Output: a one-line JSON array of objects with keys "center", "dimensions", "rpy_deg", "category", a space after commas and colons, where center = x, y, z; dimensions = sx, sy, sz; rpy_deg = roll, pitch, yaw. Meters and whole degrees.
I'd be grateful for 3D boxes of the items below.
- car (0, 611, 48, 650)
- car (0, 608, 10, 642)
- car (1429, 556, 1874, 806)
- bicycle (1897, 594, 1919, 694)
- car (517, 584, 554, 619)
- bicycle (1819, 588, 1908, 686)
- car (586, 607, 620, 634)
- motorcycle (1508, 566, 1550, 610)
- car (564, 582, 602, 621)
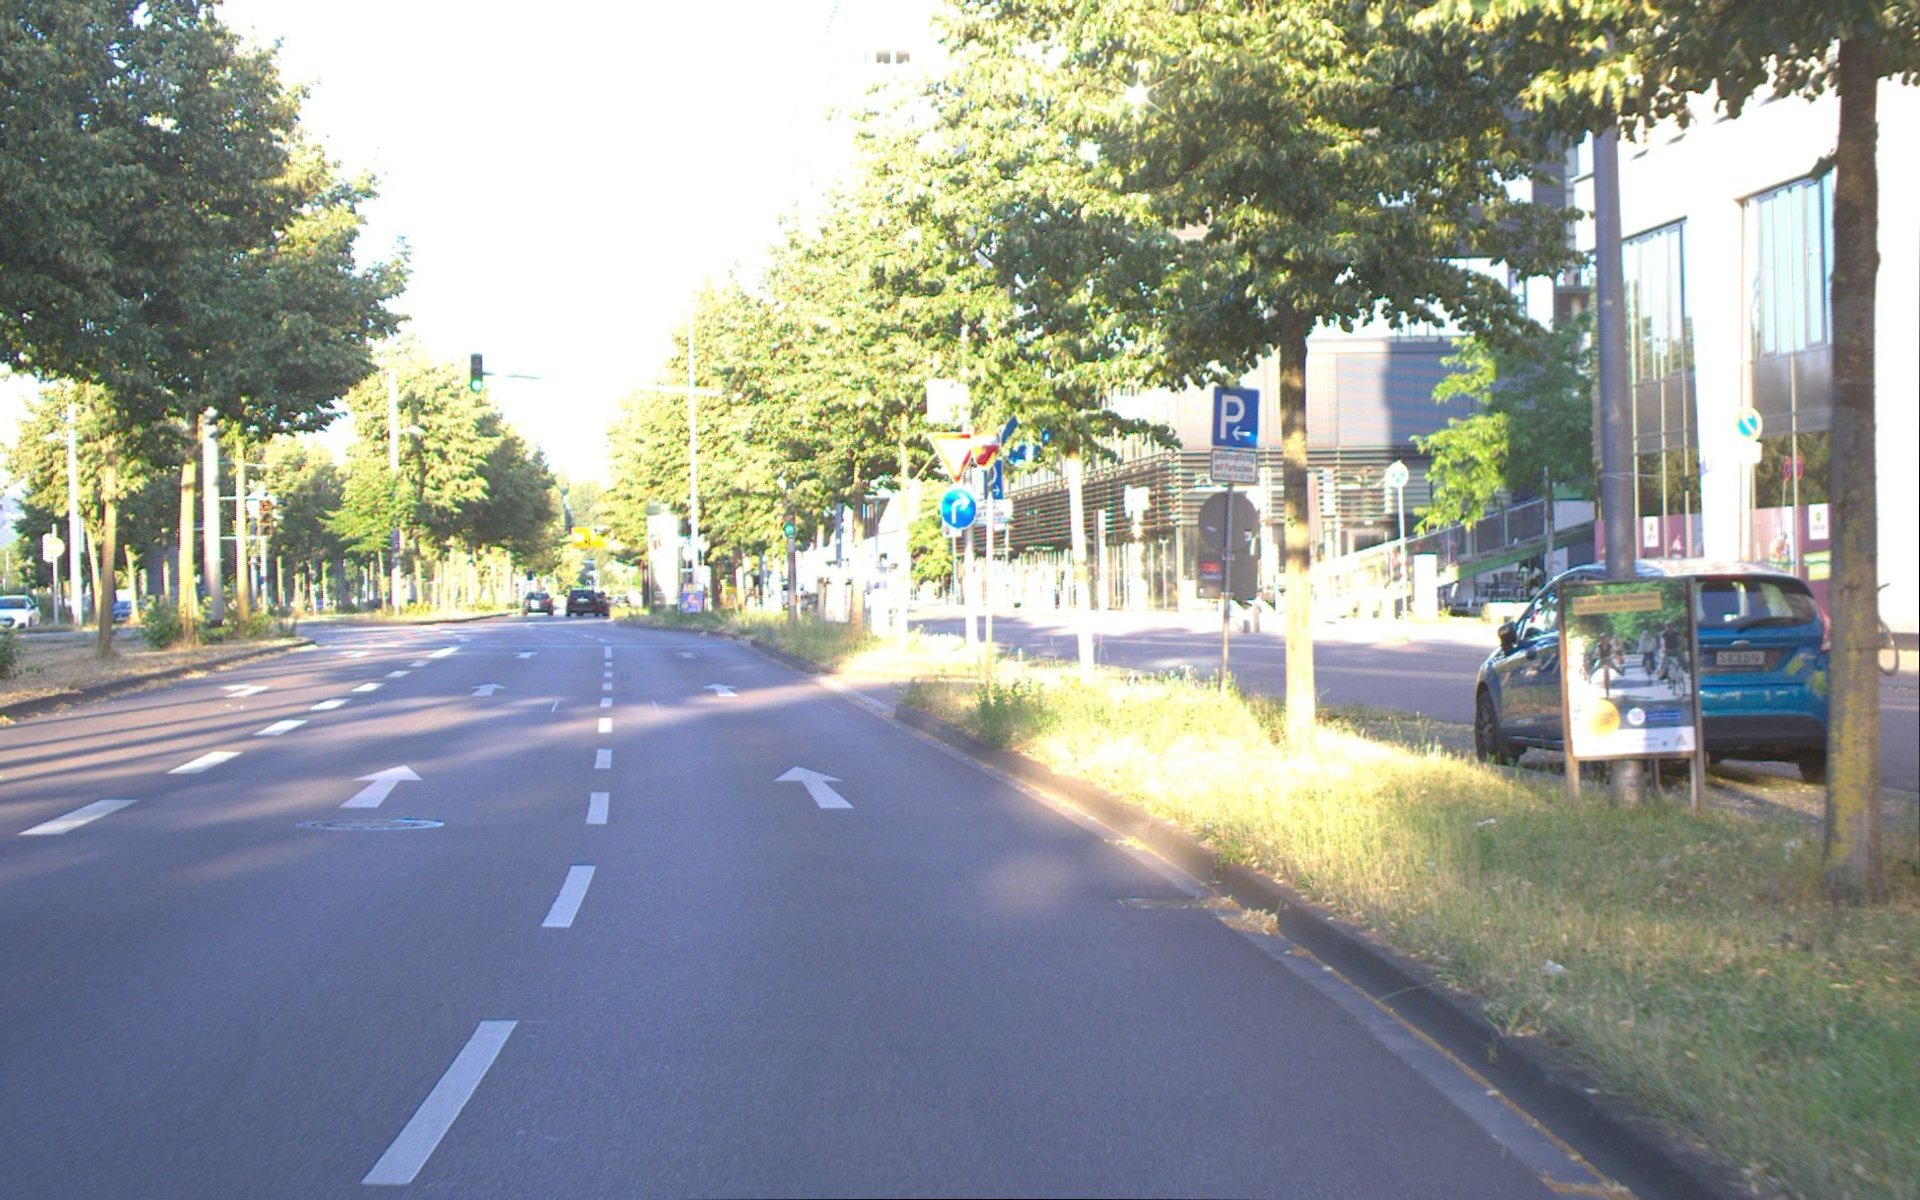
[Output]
[{"center": [-33.671, 1.079, 122.523], "dimensions": [1.786, 1.327, 3.672], "rpy_deg": [-1, 0, -7], "category": "car"}, {"center": [-39.232, 1.024, 137.638], "dimensions": [1.656, 1.327, 4.528], "rpy_deg": [-1, 0, -7], "category": "car"}, {"center": [4.521, 0.491, 23.127], "dimensions": [1.723, 1.524, 4.269], "rpy_deg": [0, 0, -6], "category": "car"}, {"center": [10.491, 0.457, 36.217], "dimensions": [0.518, 1.057, 1.961], "rpy_deg": [-3, 0, -4], "category": "bicycle"}, {"center": [-25.333, 0.076, 205.279], "dimensions": [2.087, 2.007, 4.001], "rpy_deg": [-1, 1, -7], "category": "car"}, {"center": [10.267, 0.411, 39.119], "dimensions": [0.446, 1.069, 1.774], "rpy_deg": [-3, 0, -2], "category": "bicycle"}, {"center": [-21.381, 1.210, 206.047], "dimensions": [1.872, 1.568, 3.677], "rpy_deg": [-1, 0, -4], "category": "car"}, {"center": [14.634, -0.312, 88.472], "dimensions": [0.650, 1.090, 2.332], "rpy_deg": [-1, 0, 0], "category": "motorcycle"}, {"center": [-20.393, 0.078, 185.794], "dimensions": [1.993, 2.007, 4.001], "rpy_deg": [-1, 1, -7], "category": "car"}]
